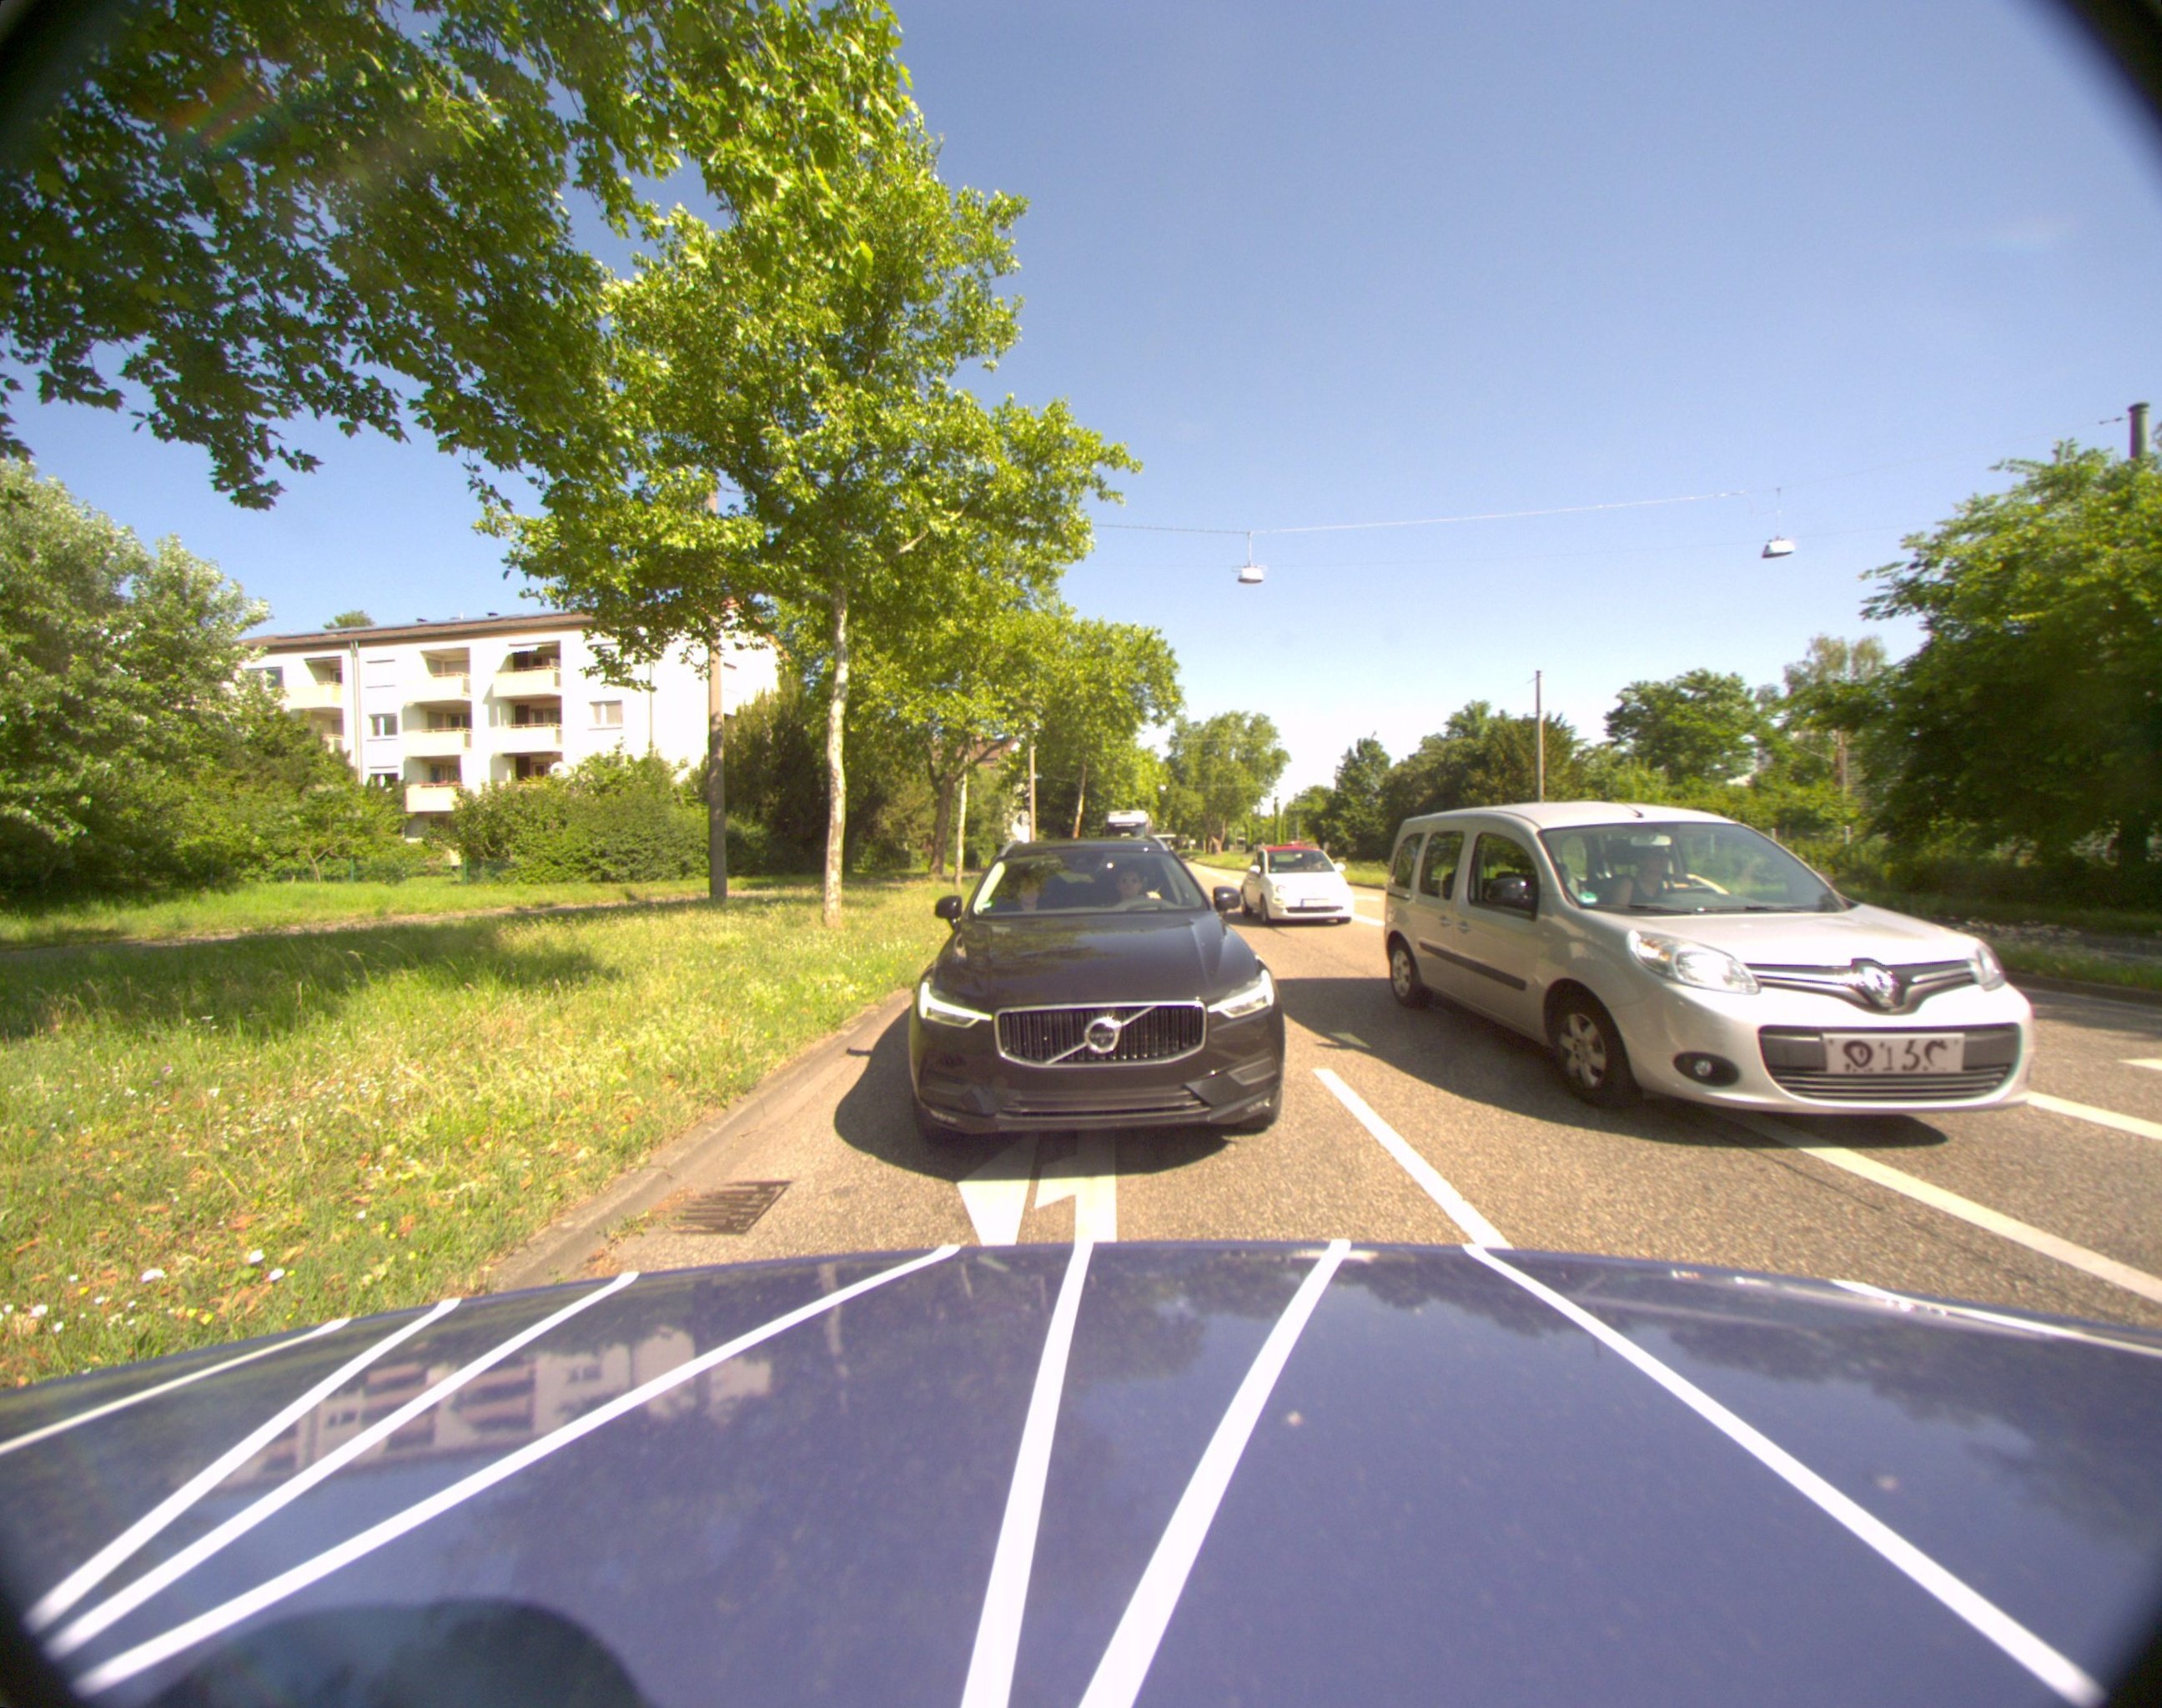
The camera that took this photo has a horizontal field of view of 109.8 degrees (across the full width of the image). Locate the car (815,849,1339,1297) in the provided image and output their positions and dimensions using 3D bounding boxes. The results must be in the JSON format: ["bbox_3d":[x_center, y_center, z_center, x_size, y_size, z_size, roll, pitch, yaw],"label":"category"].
[{"bbox_3d":[0.020,0.809,5.266,1.904,1.606,4.872,-2,1,1],"label":"car"}]

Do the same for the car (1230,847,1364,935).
[{"bbox_3d":[4.286,0.650,15.764,1.689,1.482,4.376,-3,1,3],"label":"car"}]

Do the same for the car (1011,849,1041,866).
[{"bbox_3d":[-5.309,0.322,73.817,1.504,1.633,4.094,0,1,17],"label":"car"}]

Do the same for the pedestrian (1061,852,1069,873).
[{"bbox_3d":[-1.501,0.785,71.488,0.639,2.002,0.480,0,1,10],"label":"pedestrian"}]

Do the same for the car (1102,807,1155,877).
[{"bbox_3d":[2.758,-0.698,45.845,2.902,3.898,7.141,0,1,2],"label":"car"}]

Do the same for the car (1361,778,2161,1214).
[{"bbox_3d":[3.662,0.592,5.396,1.876,1.829,4.375,-1,1,2],"label":"car"}]

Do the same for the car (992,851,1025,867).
[{"bbox_3d":[-6.468,0.416,68.504,1.504,1.364,4.094,0,1,17],"label":"car"}]
